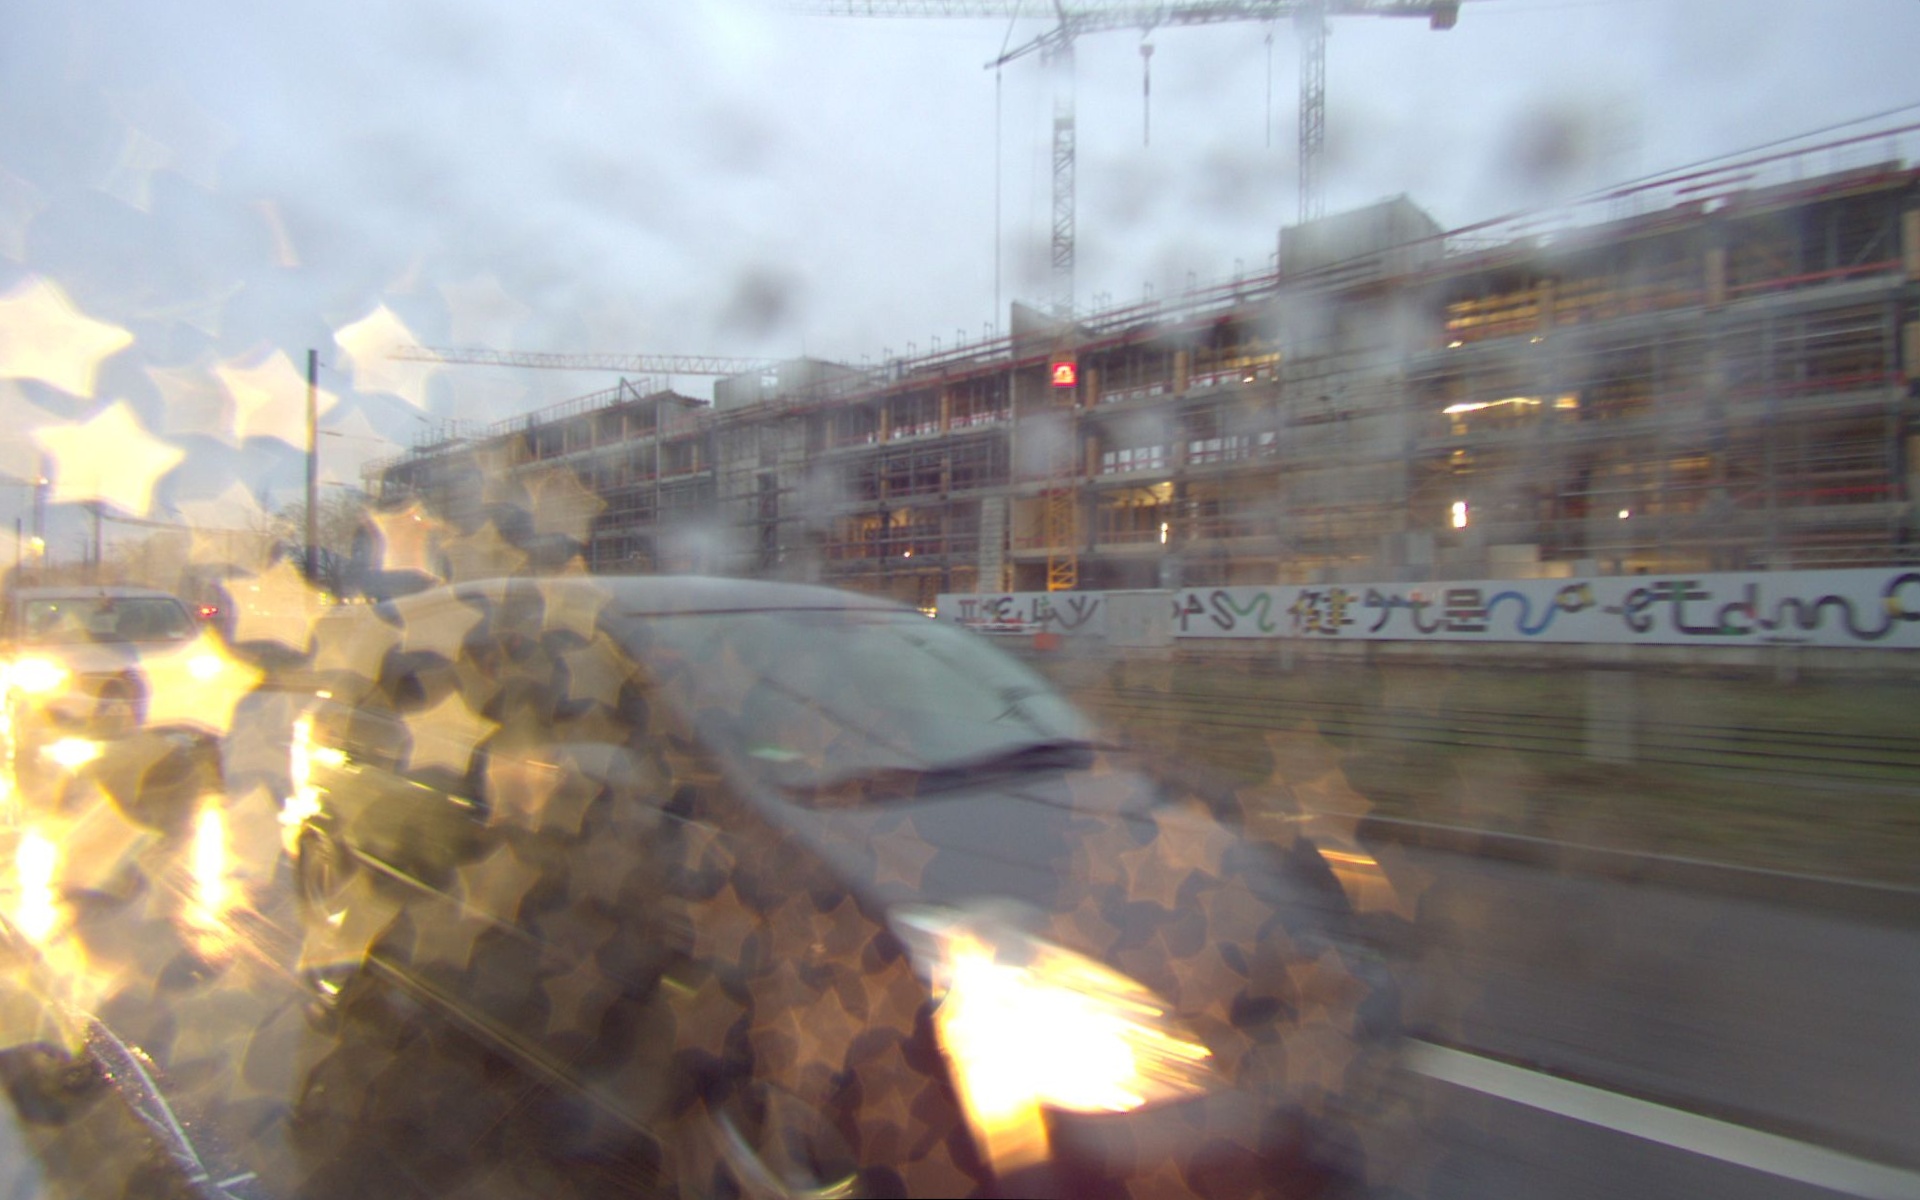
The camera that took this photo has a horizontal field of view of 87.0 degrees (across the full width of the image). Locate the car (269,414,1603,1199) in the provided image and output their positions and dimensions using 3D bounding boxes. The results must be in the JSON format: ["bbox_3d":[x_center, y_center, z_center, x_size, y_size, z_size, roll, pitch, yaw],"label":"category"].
[{"bbox_3d":[-0.513,0.601,3.120,3.998,1.606,1.741,-1,0,41],"label":"car"}]

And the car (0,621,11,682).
[{"bbox_3d":[-26.742,1.367,26.866,3.997,1.567,1.821,-1,0,41],"label":"car"}]

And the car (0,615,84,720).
[{"bbox_3d":[-17.066,1.127,17.893,4.322,1.666,1.820,-1,0,41],"label":"car"}]

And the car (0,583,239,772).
[{"bbox_3d":[-9.713,0.721,11.360,3.999,1.746,1.833,-1,0,42],"label":"car"}]
